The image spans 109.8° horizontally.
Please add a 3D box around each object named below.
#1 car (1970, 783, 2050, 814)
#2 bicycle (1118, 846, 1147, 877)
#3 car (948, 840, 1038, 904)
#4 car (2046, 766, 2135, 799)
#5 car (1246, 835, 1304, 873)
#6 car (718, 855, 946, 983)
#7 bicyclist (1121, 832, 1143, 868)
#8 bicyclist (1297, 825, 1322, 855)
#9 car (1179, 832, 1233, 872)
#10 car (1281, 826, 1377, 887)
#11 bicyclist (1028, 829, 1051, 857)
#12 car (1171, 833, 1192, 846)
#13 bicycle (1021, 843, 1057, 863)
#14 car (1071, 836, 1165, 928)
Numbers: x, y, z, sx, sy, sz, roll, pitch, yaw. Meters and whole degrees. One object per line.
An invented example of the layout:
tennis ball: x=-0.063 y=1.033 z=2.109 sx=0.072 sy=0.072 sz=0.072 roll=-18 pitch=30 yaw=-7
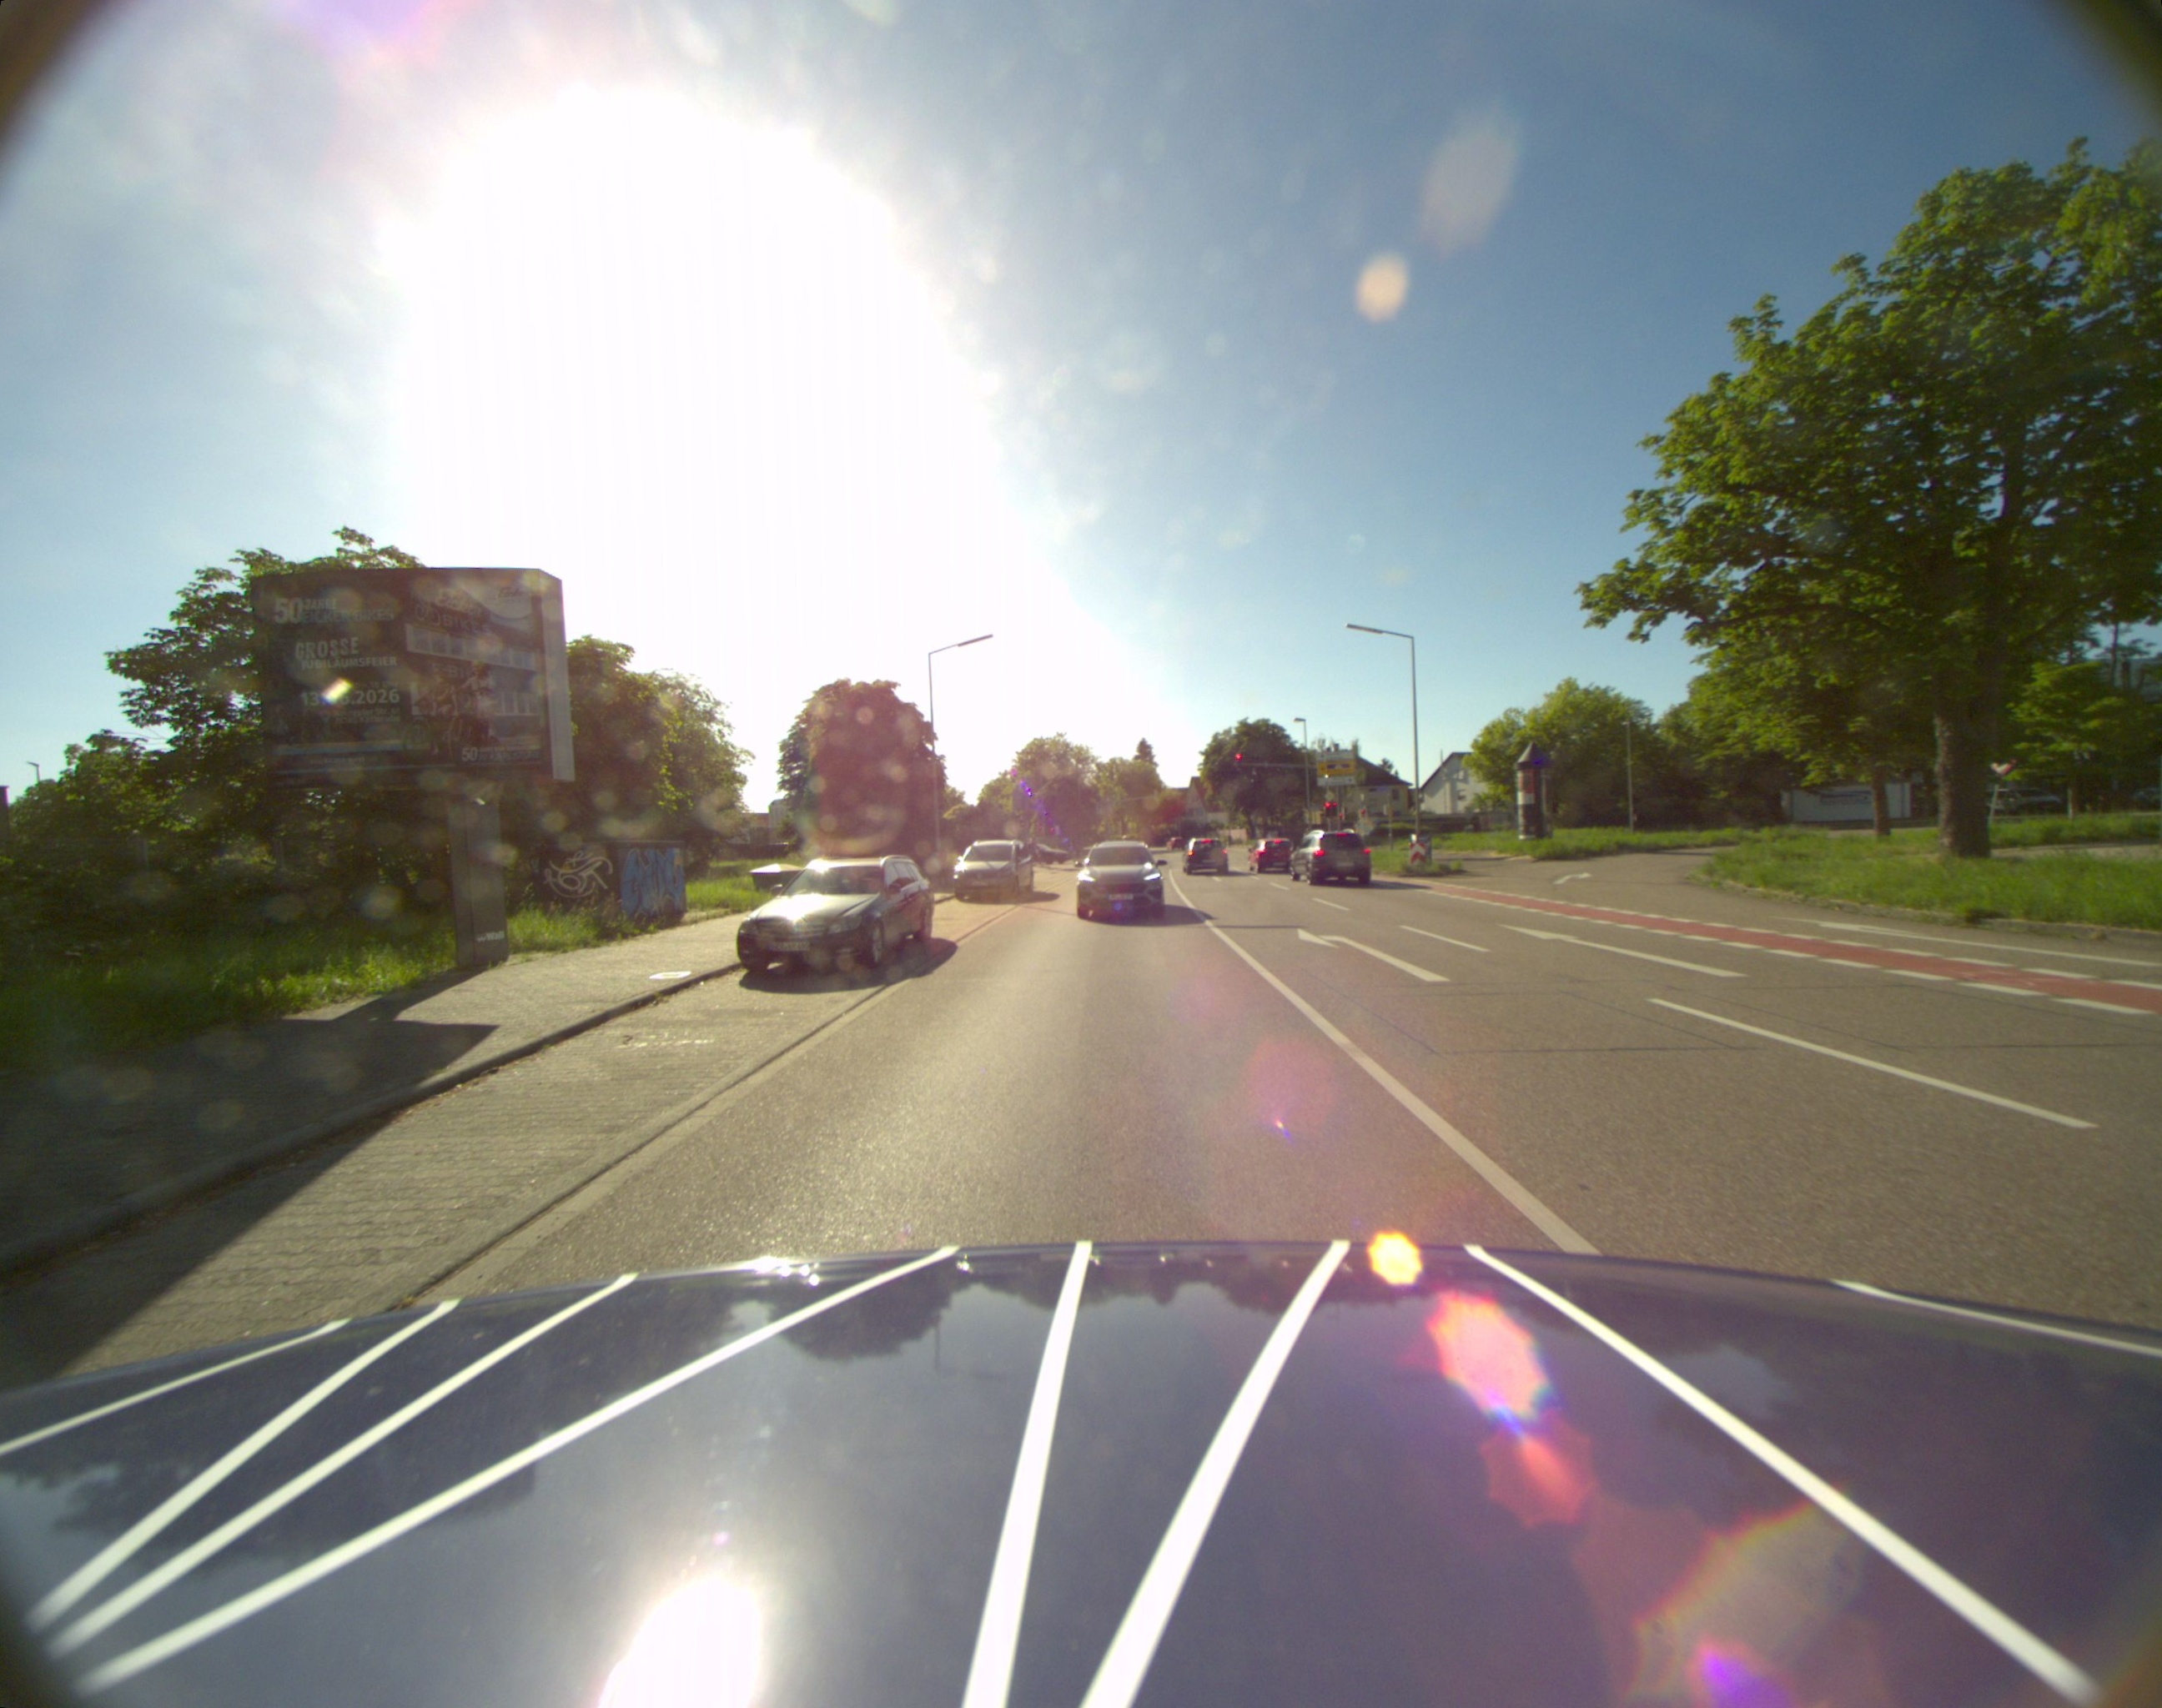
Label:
car: x=68.407 y=-4.070 z=56.040 sx=1.996 sy=2.002 sz=4.005 roll=-3 pitch=1 yaw=21
bicycle: x=2.204 y=0.278 z=33.156 sx=0.795 sy=1.219 sz=3.211 roll=-3 pitch=1 yaw=-3
car: x=-2.602 y=0.472 z=23.644 sx=1.877 sy=1.713 sz=4.612 roll=-1 pitch=2 yaw=5
car: x=72.473 y=-5.081 z=54.631 sx=1.996 sy=2.002 sz=4.005 roll=-3 pitch=1 yaw=21
car: x=8.256 y=-0.041 z=32.702 sx=1.788 sy=1.407 sz=3.891 roll=-2 pitch=2 yaw=5
car: x=-3.458 y=0.805 z=11.546 sx=1.813 sy=1.411 sz=4.424 roll=-3 pitch=1 yaw=2
bicyclist: x=2.199 y=-0.168 z=32.986 sx=0.774 sy=1.476 sz=0.825 roll=-3 pitch=1 yaw=-3
bicyclist: x=11.126 y=-0.689 z=36.994 sx=0.935 sy=1.394 sz=0.823 roll=-3 pitch=1 yaw=6
car: x=5.426 y=-0.098 z=33.430 sx=1.917 sy=1.590 sz=4.001 roll=-3 pitch=0 yaw=4
car: x=7.861 y=0.042 z=24.506 sx=1.857 sy=1.726 sz=4.270 roll=-2 pitch=1 yaw=3
bicyclist: x=-2.642 y=-0.713 z=48.021 sx=0.890 sy=1.683 sz=1.192 roll=-3 pitch=1 yaw=26
car: x=12.622 y=-1.865 z=95.055 sx=1.860 sy=1.461 sz=4.142 roll=-3 pitch=2 yaw=17
bicycle: x=-2.604 y=-0.093 z=48.028 sx=0.901 sy=1.119 sz=2.957 roll=-3 pitch=1 yaw=26
car: x=0.949 y=0.516 z=17.058 sx=1.714 sy=1.636 sz=4.055 roll=-5 pitch=2 yaw=7
